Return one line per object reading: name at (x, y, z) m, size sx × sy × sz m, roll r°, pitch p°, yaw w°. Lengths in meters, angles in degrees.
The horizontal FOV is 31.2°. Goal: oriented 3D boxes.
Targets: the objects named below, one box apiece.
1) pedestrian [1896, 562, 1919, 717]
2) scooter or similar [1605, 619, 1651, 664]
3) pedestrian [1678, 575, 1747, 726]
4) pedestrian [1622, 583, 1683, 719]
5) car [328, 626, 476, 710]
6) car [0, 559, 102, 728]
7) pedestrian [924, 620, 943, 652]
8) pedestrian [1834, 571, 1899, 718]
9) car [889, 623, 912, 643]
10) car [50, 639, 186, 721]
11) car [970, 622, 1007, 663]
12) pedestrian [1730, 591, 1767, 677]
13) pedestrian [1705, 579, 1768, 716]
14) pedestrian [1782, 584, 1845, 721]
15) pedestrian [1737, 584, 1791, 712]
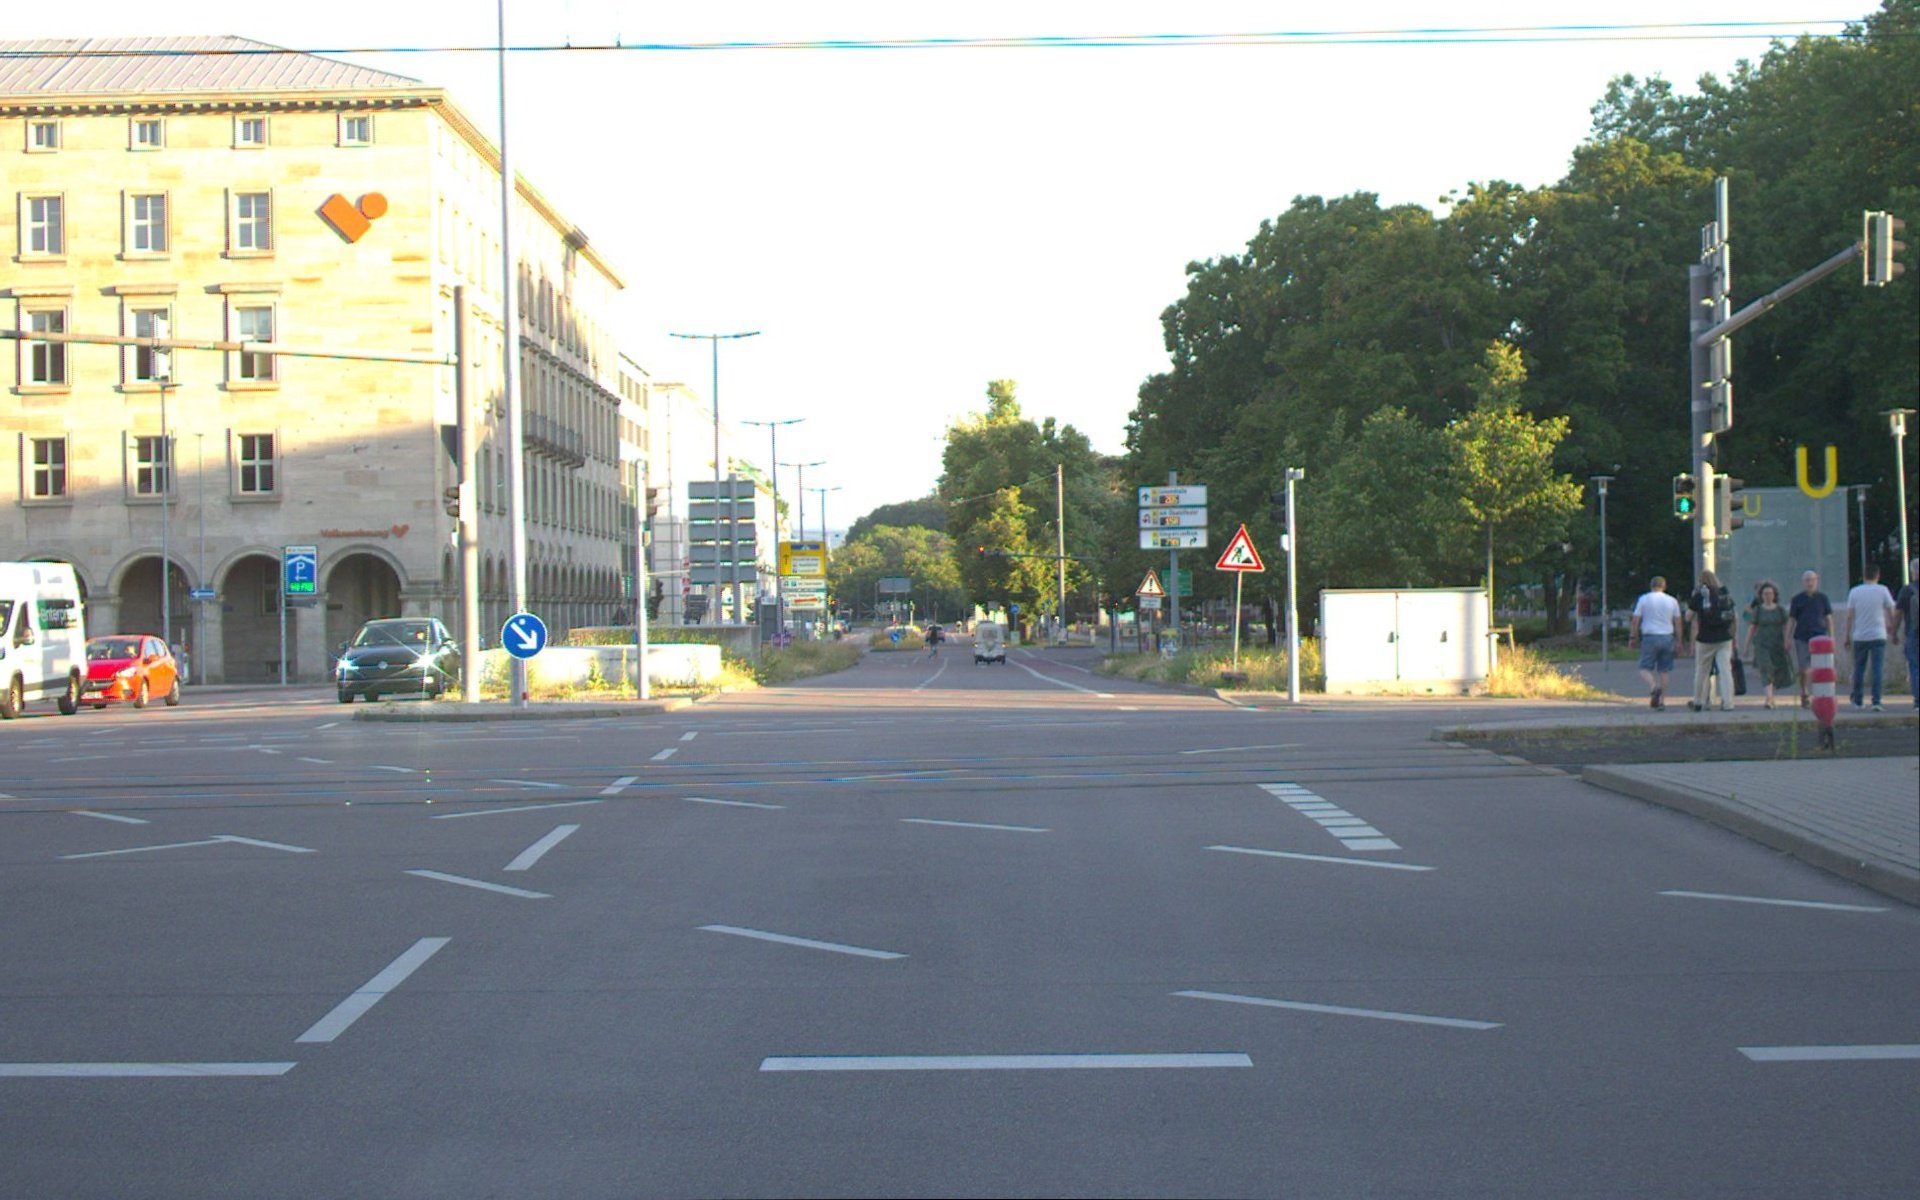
pedestrian at (11.138, 0.451, 39.738) m, size 0.572 × 1.785 × 0.638 m, roll -1°, pitch 0°, yaw 13°
scooter or similar at (18.303, 1.128, 94.247) m, size 0.569 × 1.199 × 2.984 m, roll -1°, pitch 0°, yaw -1°
pedestrian at (8.689, 0.574, 39.717) m, size 0.711 × 1.719 × 0.914 m, roll -1°, pitch 0°, yaw 10°
pedestrian at (8.833, 0.648, 43.830) m, size 0.711 × 1.719 × 0.668 m, roll -1°, pitch 0°, yaw 14°
car at (-9.690, 1.167, 59.942) m, size 1.823 × 1.337 × 4.000 m, roll -1°, pitch 0°, yaw 1°
car at (-16.847, 0.743, 59.580) m, size 2.279 × 2.767 × 6.083 m, roll -1°, pitch 0°, yaw 1°
pedestrian at (-1.405, 1.923, 181.812) m, size 0.906 × 1.665 × 1.307 m, roll -1°, pitch 0°, yaw -2°
pedestrian at (10.709, 0.520, 40.636) m, size 0.711 × 1.719 × 0.914 m, roll -1°, pitch 0°, yaw 15°
car at (-3.828, 2.099, 222.399) m, size 1.370 × 1.230 × 3.045 m, roll -1°, pitch 0°, yaw 1°
car at (-16.719, 1.565, 68.405) m, size 1.738 × 1.482 × 4.000 m, roll -1°, pitch 0°, yaw -1°
car at (1.219, 1.795, 146.865) m, size 1.483 × 1.690 × 2.974 m, roll -1°, pitch 0°, yaw -1°
pedestrian at (17.096, 0.729, 74.526) m, size 0.666 × 1.836 × 0.713 m, roll -1°, pitch 0°, yaw 5°
pedestrian at (9.869, 0.599, 43.674) m, size 0.711 × 1.719 × 0.668 m, roll -1°, pitch 0°, yaw 17°
pedestrian at (11.087, 0.679, 44.639) m, size 0.680 × 1.751 × 0.901 m, roll -1°, pitch 0°, yaw 20°
pedestrian at (10.491, 0.624, 44.848) m, size 0.560 × 1.649 × 0.901 m, roll -1°, pitch 0°, yaw 20°
